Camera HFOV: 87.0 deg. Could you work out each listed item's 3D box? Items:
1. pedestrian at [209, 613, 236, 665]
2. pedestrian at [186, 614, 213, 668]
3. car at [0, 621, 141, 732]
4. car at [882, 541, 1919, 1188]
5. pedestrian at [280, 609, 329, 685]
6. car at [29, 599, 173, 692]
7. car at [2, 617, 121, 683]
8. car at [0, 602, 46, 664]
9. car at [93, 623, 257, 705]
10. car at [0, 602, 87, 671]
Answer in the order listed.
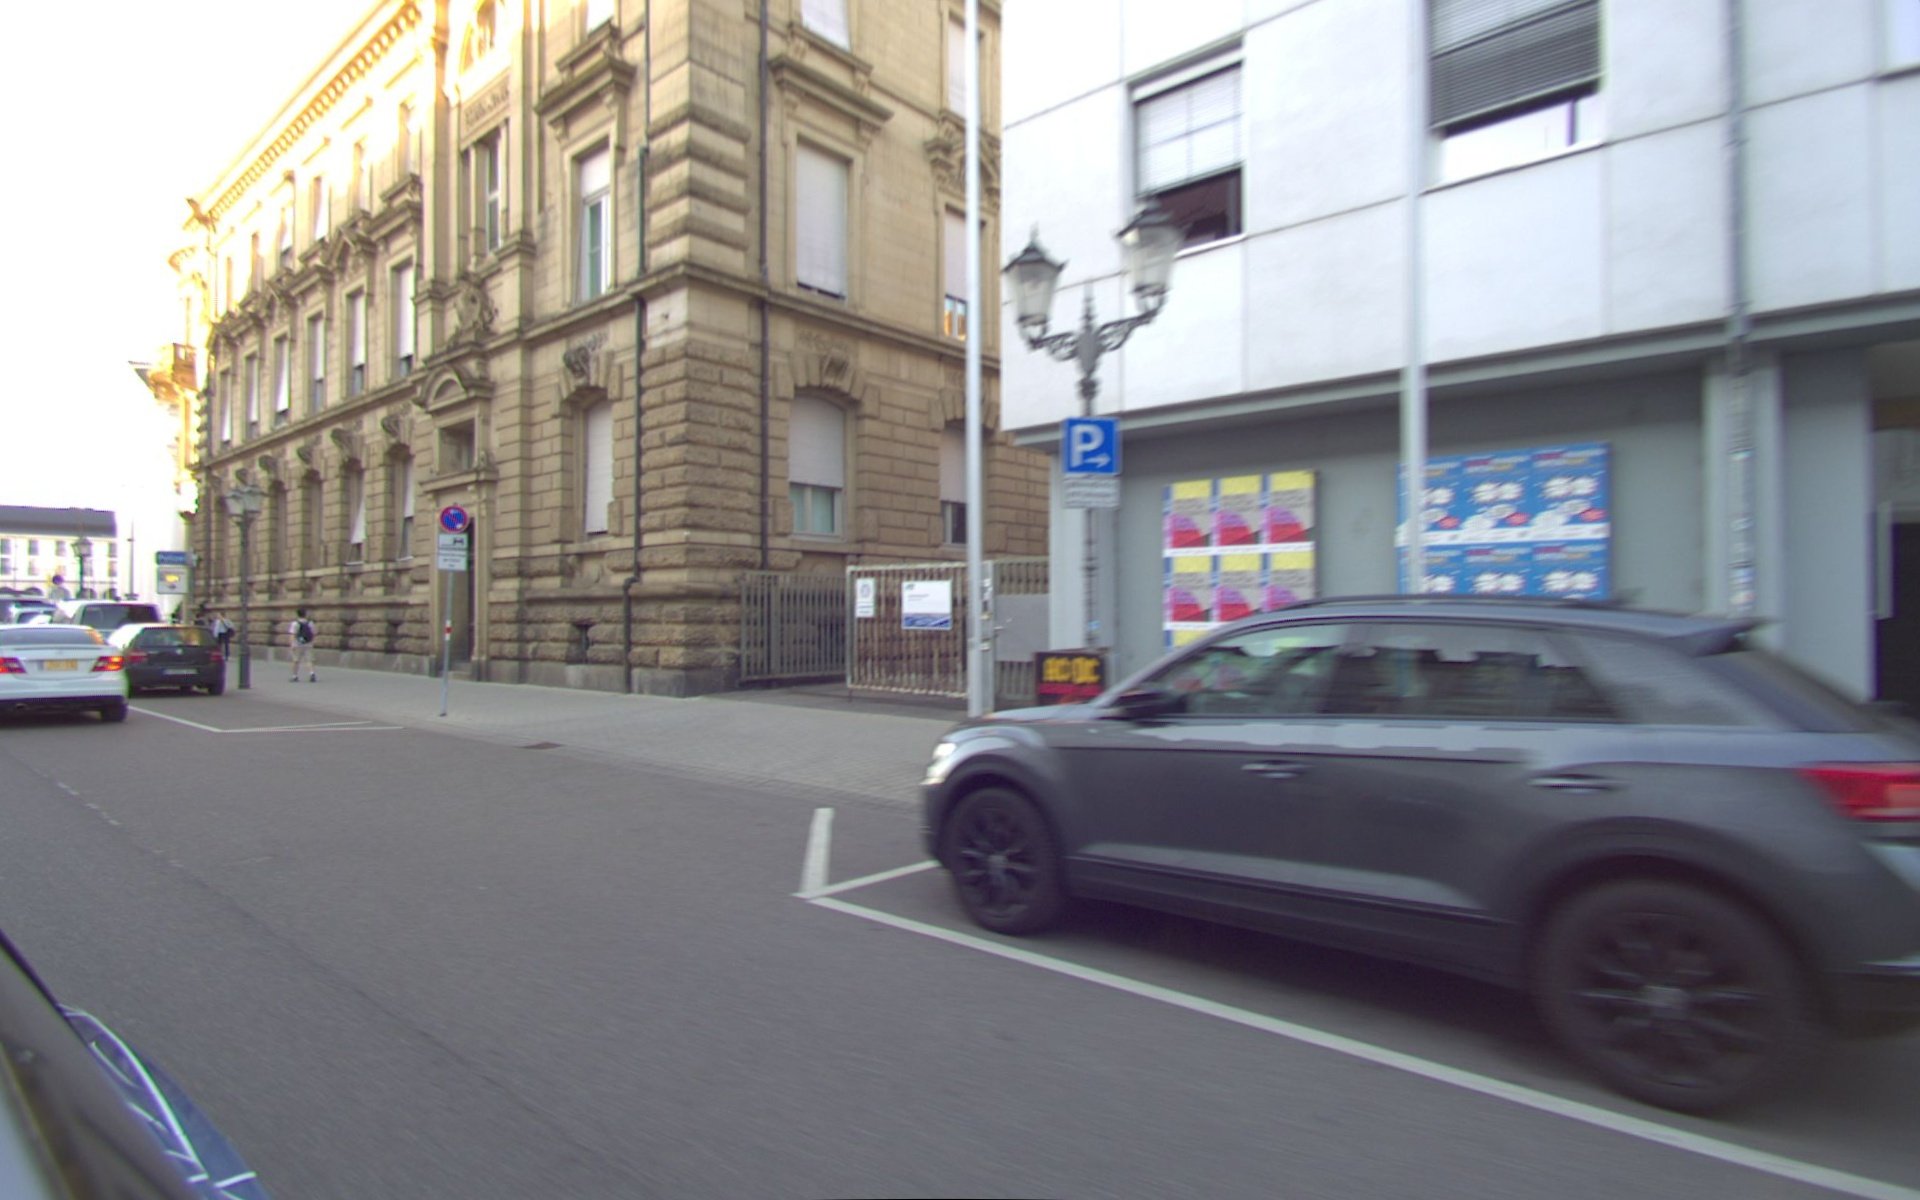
[{"bbox_3d":[-25.078,1.317,34.397,0.703,1.743,0.600,-1,-2,43],"label":"pedestrian"},{"bbox_3d":[-25.351,1.355,33.729,0.831,1.743,0.576,-1,-2,43],"label":"pedestrian"},{"bbox_3d":[-13.549,1.025,14.784,4.086,1.419,1.766,-1,-2,41],"label":"car"},{"bbox_3d":[1.728,0.705,4.384,4.165,1.627,1.766,-1,-2,42],"label":"car"},{"bbox_3d":[-15.502,1.095,23.926,0.896,1.743,0.706,-1,1,43],"label":"pedestrian"},{"bbox_3d":[-21.464,1.050,25.202,4.987,2.093,1.973,0,-1,41],"label":"car"},{"bbox_3d":[-26.133,1.382,29.377,4.988,1.765,1.973,-1,-2,41],"label":"car"},{"bbox_3d":[-35.720,1.223,37.500,5.201,2.188,1.974,-1,-1,39],"label":"car"},{"bbox_3d":[-16.391,1.250,21.065,4.163,1.506,1.972,-1,-2,42],"label":"car"},{"bbox_3d":[-30.313,1.155,33.126,5.205,2.103,1.972,-1,-2,42],"label":"car"}]
